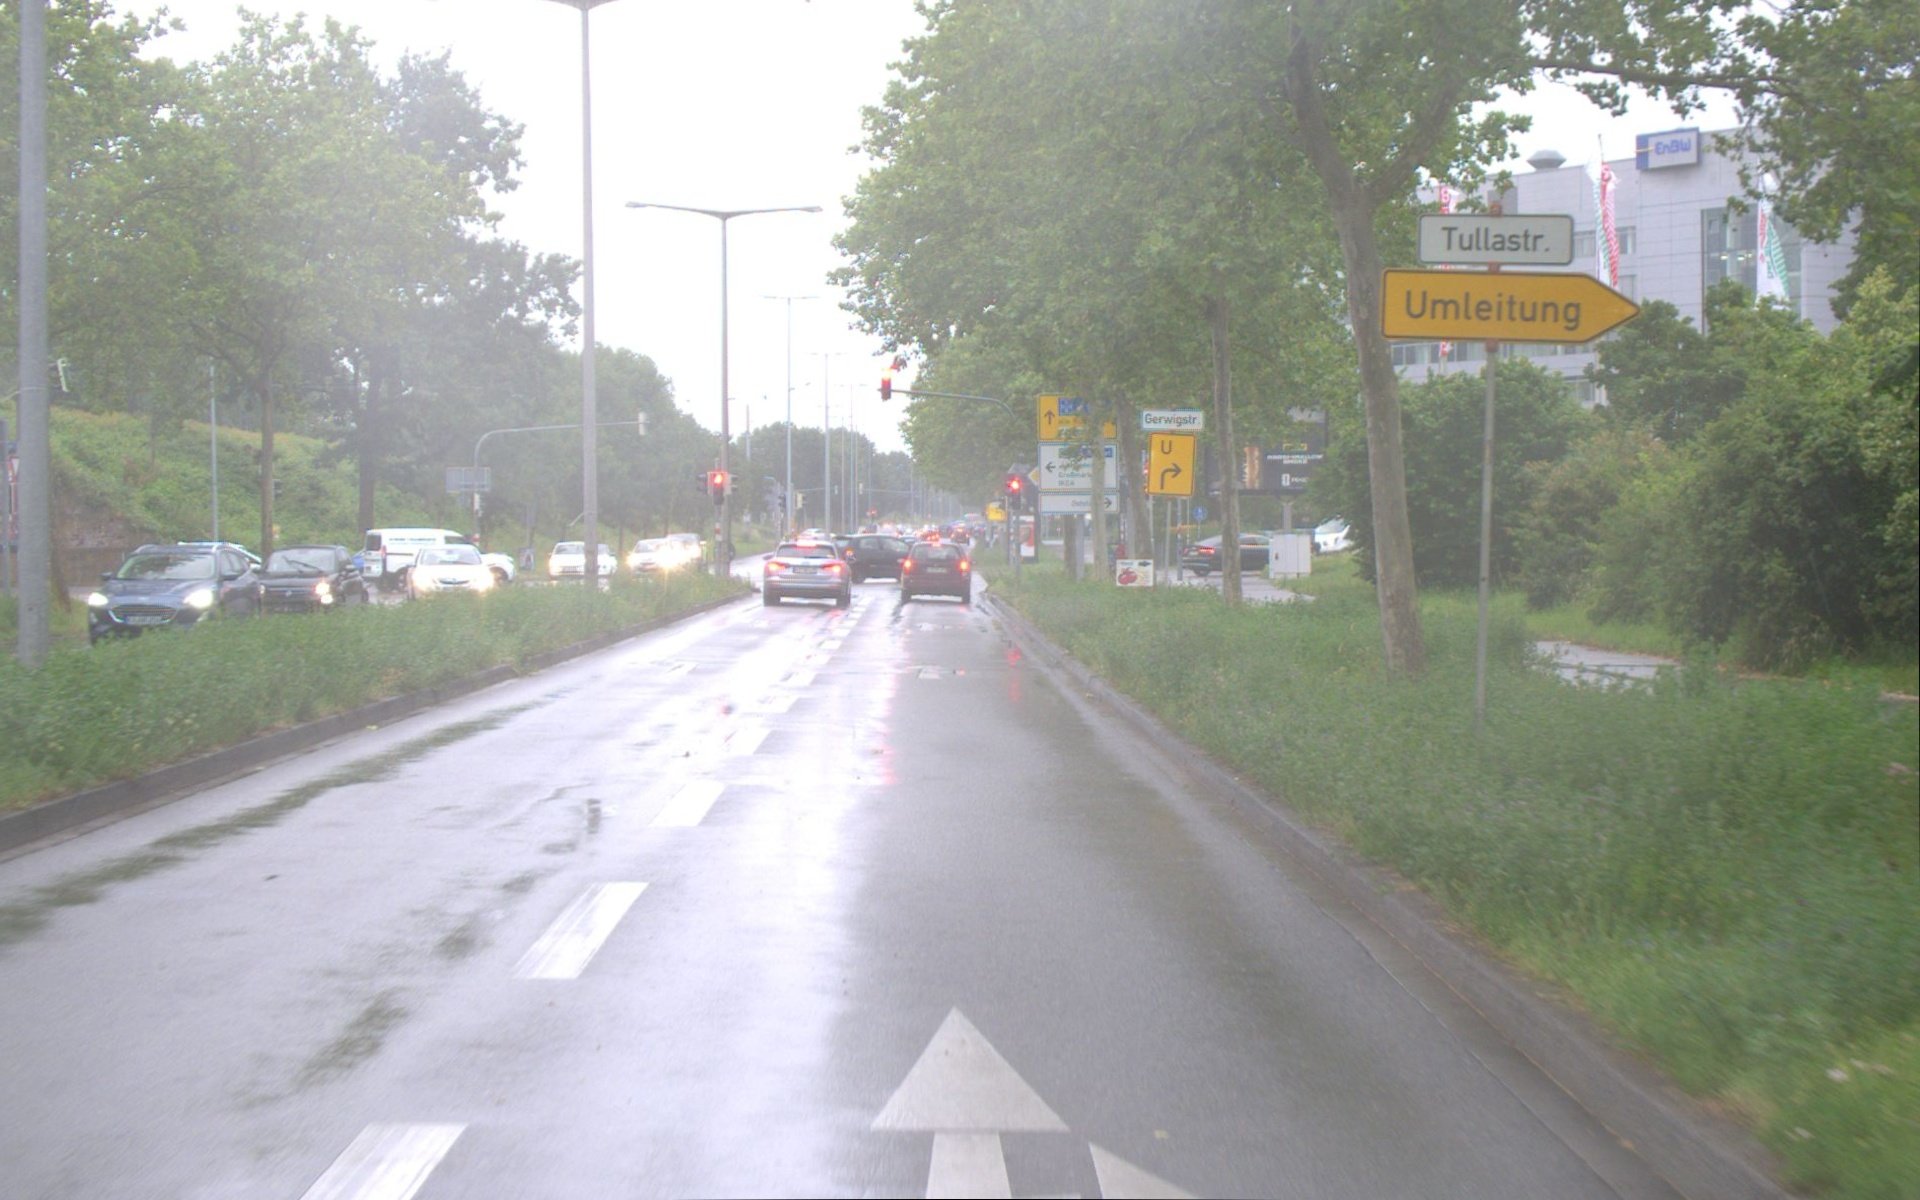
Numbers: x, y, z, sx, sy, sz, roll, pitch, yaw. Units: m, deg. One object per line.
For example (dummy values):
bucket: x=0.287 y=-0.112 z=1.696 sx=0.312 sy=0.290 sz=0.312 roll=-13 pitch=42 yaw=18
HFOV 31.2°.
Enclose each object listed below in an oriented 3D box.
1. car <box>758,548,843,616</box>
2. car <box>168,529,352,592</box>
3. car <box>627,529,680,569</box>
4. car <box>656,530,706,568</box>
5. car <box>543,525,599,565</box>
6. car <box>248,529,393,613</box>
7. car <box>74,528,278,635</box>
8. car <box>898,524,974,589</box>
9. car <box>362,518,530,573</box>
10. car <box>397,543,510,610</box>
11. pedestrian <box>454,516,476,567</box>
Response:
car: x=-3.535 y=-0.424 z=76.703 sx=1.690 sy=1.428 sz=4.574 roll=1 pitch=1 yaw=0
car: x=-18.072 y=-1.025 z=88.909 sx=4.503 sy=1.583 sz=1.863 roll=-1 pitch=1 yaw=-7
car: x=-11.851 y=-1.978 z=133.199 sx=1.712 sy=1.525 sz=4.000 roll=0 pitch=1 yaw=0
car: x=-11.381 y=-2.112 z=140.520 sx=1.712 sy=1.525 sz=4.000 roll=0 pitch=1 yaw=0
car: x=-14.914 y=-2.118 z=131.998 sx=1.712 sy=1.525 sz=4.000 roll=0 pitch=1 yaw=0
car: x=-11.368 y=-0.540 z=61.337 sx=1.931 sy=1.440 sz=3.708 roll=1 pitch=1 yaw=-1
car: x=-11.155 y=-0.293 z=49.219 sx=1.931 sy=1.440 sz=4.497 roll=1 pitch=1 yaw=-1
car: x=-0.584 y=-1.088 z=85.084 sx=1.796 sy=1.532 sz=4.387 roll=2 pitch=1 yaw=0
car: x=-14.686 y=-1.564 z=98.256 sx=4.372 sy=1.532 sz=1.802 roll=-1 pitch=1 yaw=-29
car: x=-11.441 y=-0.556 z=77.922 sx=1.931 sy=1.440 sz=4.658 roll=1 pitch=1 yaw=-1
pedestrian: x=-17.687 y=-2.089 z=122.854 sx=0.533 sy=1.779 sz=0.673 roll=1 pitch=0 yaw=17
